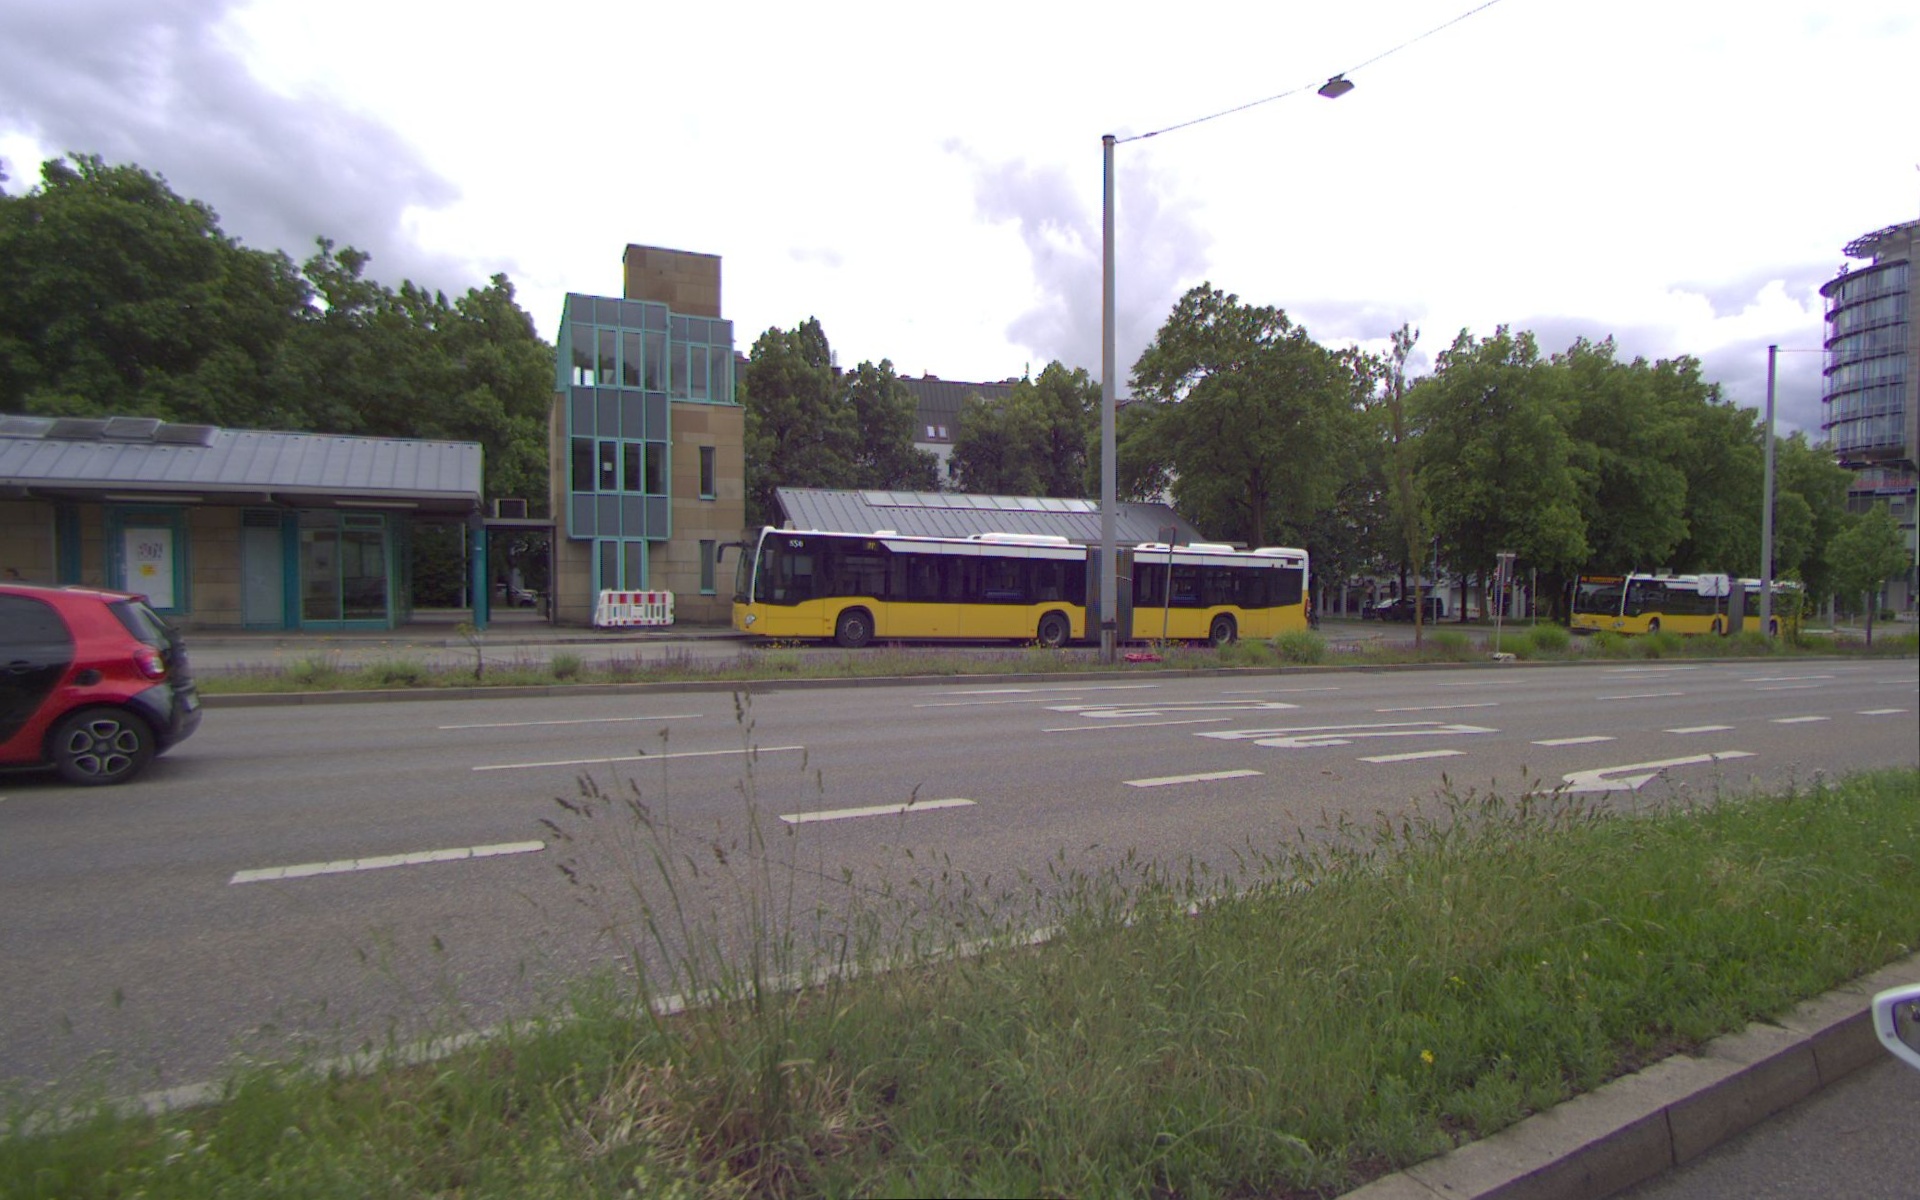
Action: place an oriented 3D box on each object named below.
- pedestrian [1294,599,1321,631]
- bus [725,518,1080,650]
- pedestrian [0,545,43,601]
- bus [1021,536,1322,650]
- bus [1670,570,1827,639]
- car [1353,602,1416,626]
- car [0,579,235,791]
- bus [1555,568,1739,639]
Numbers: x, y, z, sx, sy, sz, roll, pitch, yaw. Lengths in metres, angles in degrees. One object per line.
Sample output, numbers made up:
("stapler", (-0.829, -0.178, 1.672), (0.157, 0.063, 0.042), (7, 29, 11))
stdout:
("pedestrian", (14.384, 0.620, 41.571), (0.844, 1.307, 0.893), (1, 0, 35))
("bus", (-1.446, -0.378, 27.451), (9.310, 3.174, 2.767), (1, 2, -25))
("pedestrian", (-19.485, -0.553, 20.747), (0.649, 1.136, 0.617), (1, 0, -27))
("bus", (6.640, -0.183, 31.205), (9.169, 3.174, 2.802), (1, 2, -24))
("bus", (43.210, 0.283, 54.948), (9.788, 3.502, 3.018), (1, 2, -29))
("car", (30.484, 1.013, 72.164), (4.195, 1.602, 1.985), (1, 0, -28))
("car", (-7.886, 0.588, 7.608), (3.727, 1.528, 1.649), (2, 0, -32))
("bus", (34.316, 0.215, 49.989), (10.606, 3.205, 3.069), (1, 2, -29))
